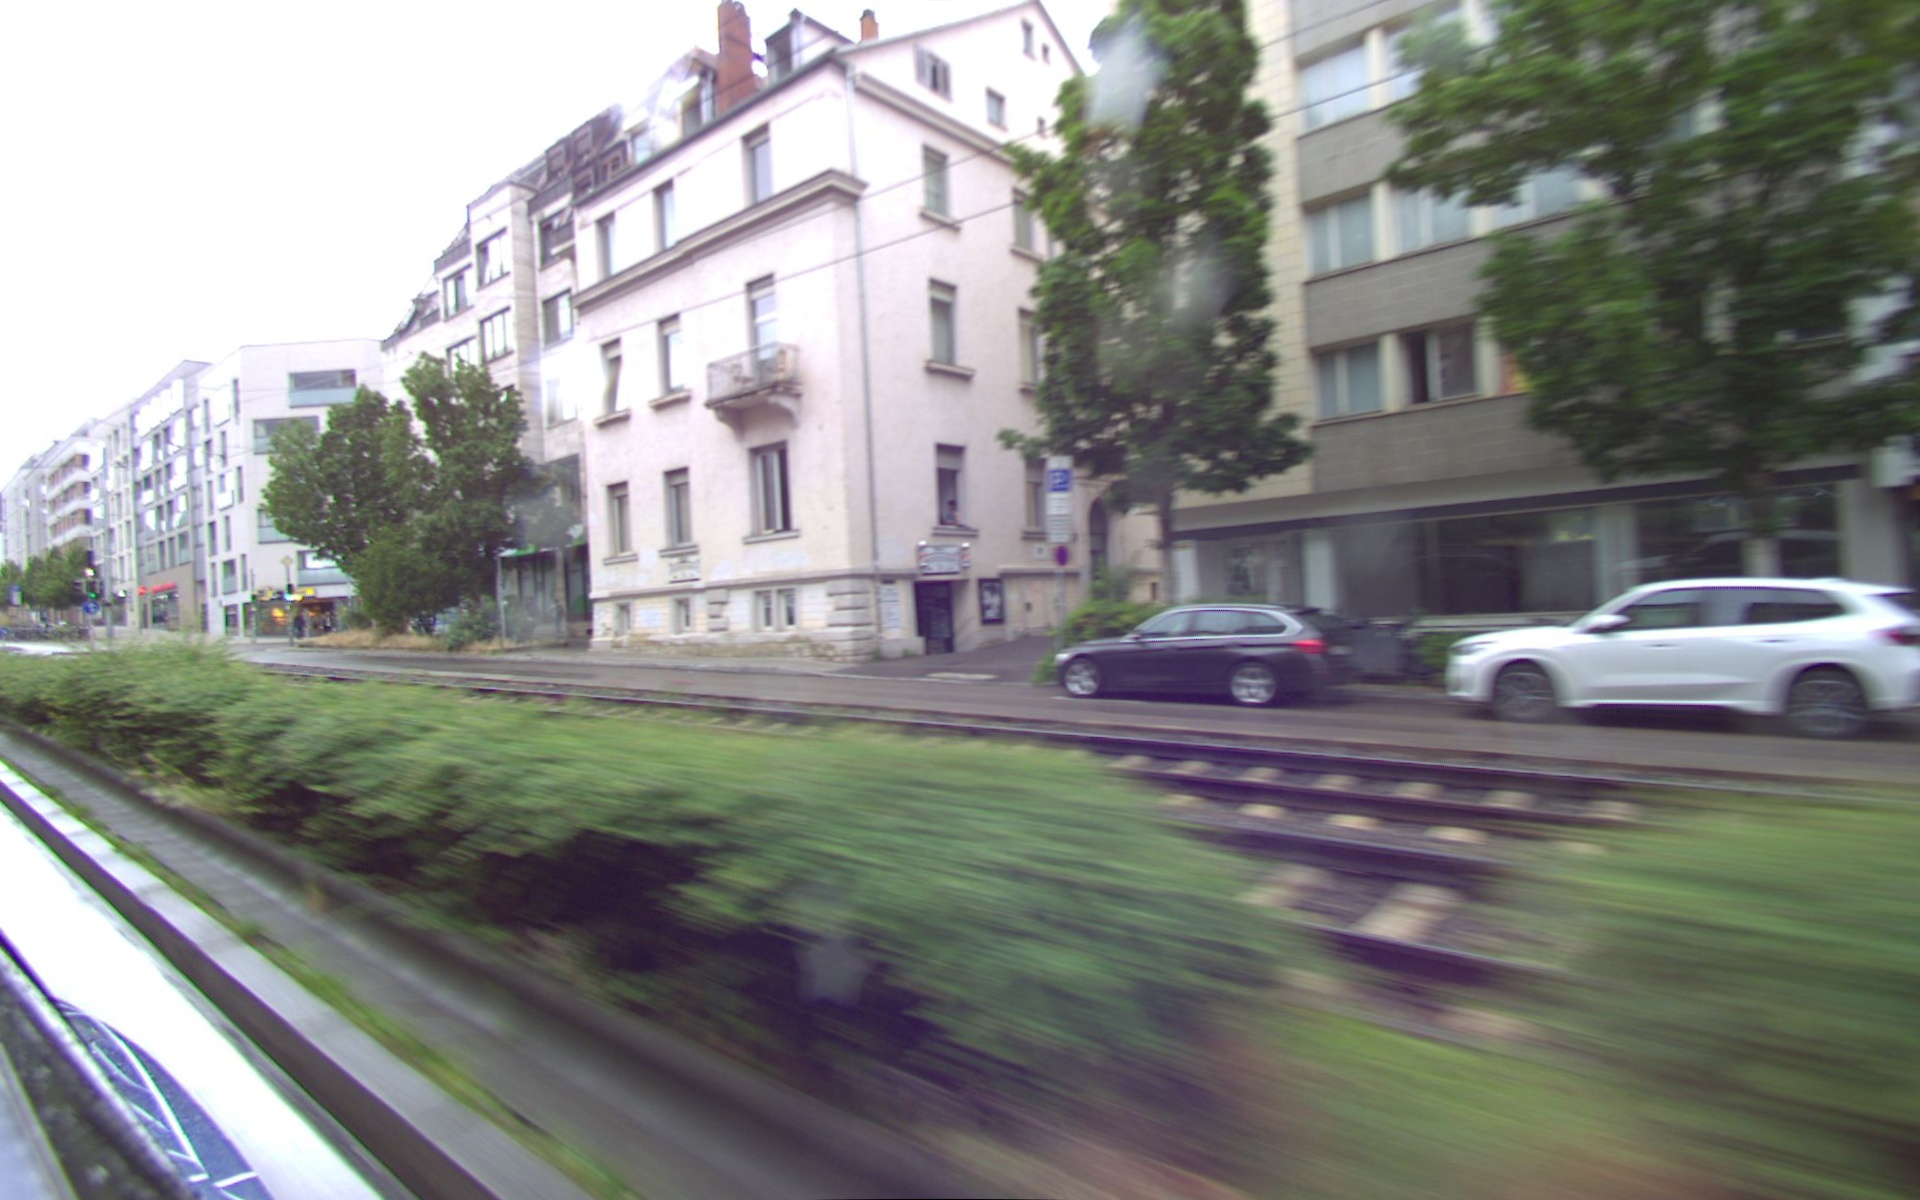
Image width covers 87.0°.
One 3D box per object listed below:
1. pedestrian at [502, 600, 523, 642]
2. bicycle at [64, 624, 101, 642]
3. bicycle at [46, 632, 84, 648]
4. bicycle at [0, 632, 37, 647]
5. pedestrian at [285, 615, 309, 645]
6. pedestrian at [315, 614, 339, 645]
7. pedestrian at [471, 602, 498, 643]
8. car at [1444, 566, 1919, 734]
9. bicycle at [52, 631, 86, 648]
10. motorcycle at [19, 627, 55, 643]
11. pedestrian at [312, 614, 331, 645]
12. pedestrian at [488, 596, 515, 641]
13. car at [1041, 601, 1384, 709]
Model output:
[{"bbox_3d":[-17.755,0.828,40.159,0.585,1.609,0.499,1,4,38],"label":"pedestrian"},{"bbox_3d":[-56.341,2.093,64.985,0.438,0.987,1.774,0,3,25],"label":"bicycle"},{"bbox_3d":[-57.642,2.589,65.184,0.385,0.883,1.773,0,2,28],"label":"bicycle"},{"bbox_3d":[-62.104,2.589,66.746,0.385,0.924,1.774,0,1,25],"label":"bicycle"},{"bbox_3d":[-40.579,1.831,61.983,0.956,1.843,0.923,0,0,32],"label":"pedestrian"},{"bbox_3d":[-33.451,1.558,53.502,0.767,1.580,0.648,-2,3,3],"label":"pedestrian"},{"bbox_3d":[-18.822,0.871,40.065,0.683,1.560,0.641,1,4,39],"label":"pedestrian"},{"bbox_3d":[8.184,0.503,11.299,4.718,1.560,1.836,-1,-2,41],"label":"car"},{"bbox_3d":[-58.165,2.580,66.052,0.383,0.924,1.784,-1,2,10],"label":"bicycle"},{"bbox_3d":[-63.829,2.413,70.002,0.540,1.050,1.748,1,1,26],"label":"motorcycle"},{"bbox_3d":[-36.892,1.702,58.468,0.580,1.723,0.702,-1,2,16],"label":"pedestrian"},{"bbox_3d":[-18.398,0.735,40.607,0.683,1.737,0.641,1,4,39],"label":"pedestrian"},{"bbox_3d":[3.609,0.773,15.106,4.718,1.388,1.676,-2,-2,41],"label":"car"}]
